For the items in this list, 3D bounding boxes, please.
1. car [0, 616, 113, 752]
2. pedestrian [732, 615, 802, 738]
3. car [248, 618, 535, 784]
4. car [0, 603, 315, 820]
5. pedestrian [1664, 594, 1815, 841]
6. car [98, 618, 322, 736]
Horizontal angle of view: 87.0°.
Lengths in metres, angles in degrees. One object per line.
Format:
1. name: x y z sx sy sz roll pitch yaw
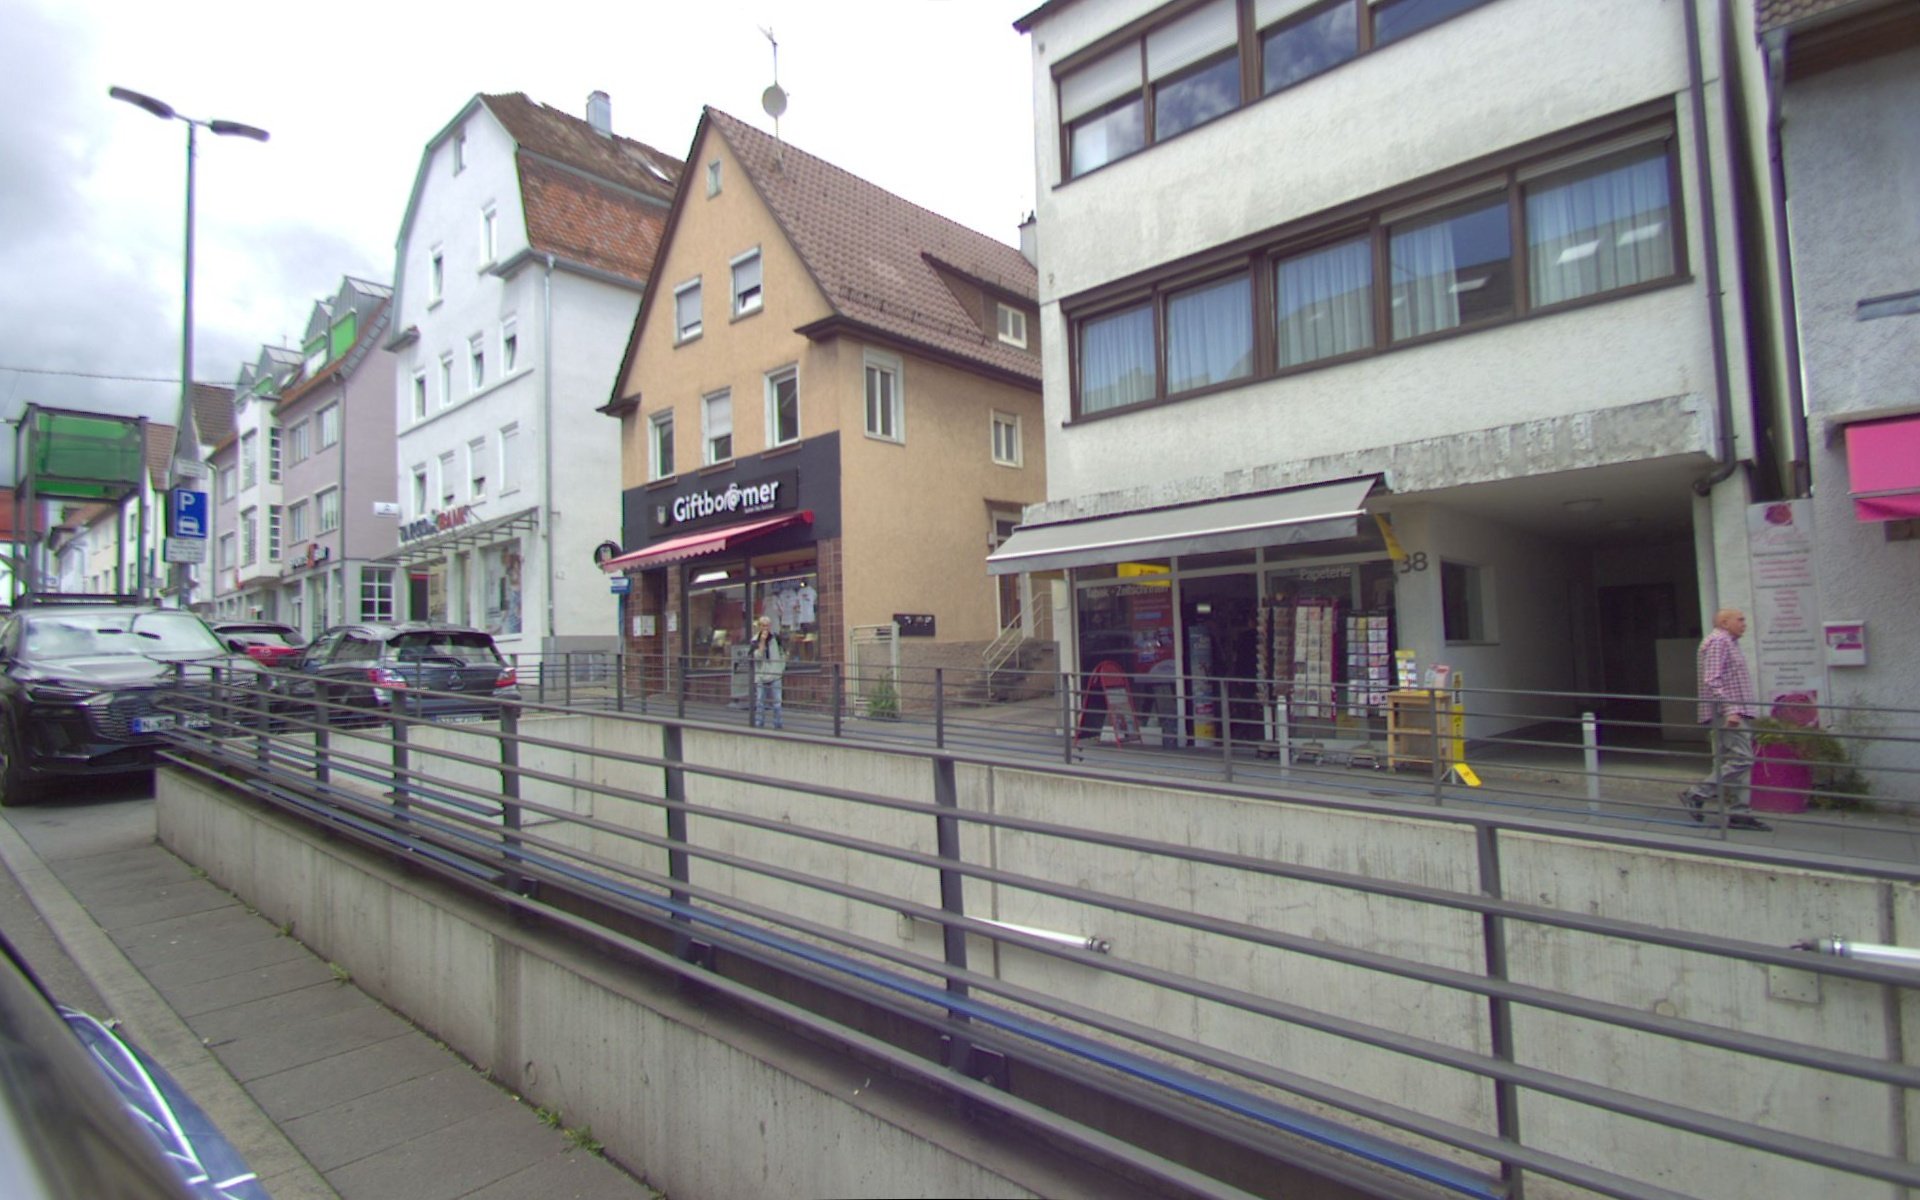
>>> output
1. car: -12.657 1.044 13.511 3.531 1.622 1.556 -2 -1 41
2. pedestrian: -2.819 1.094 14.790 0.664 1.727 0.739 -2 -3 42
3. car: -6.619 1.018 11.614 3.897 1.559 1.681 -2 -1 41
4. car: -8.016 0.858 9.578 4.427 1.578 1.974 -1 -1 40
5. pedestrian: 5.957 0.852 7.742 0.825 1.753 0.686 -2 -3 43
6. car: -12.014 1.112 16.106 4.492 1.601 1.973 -2 -1 41
